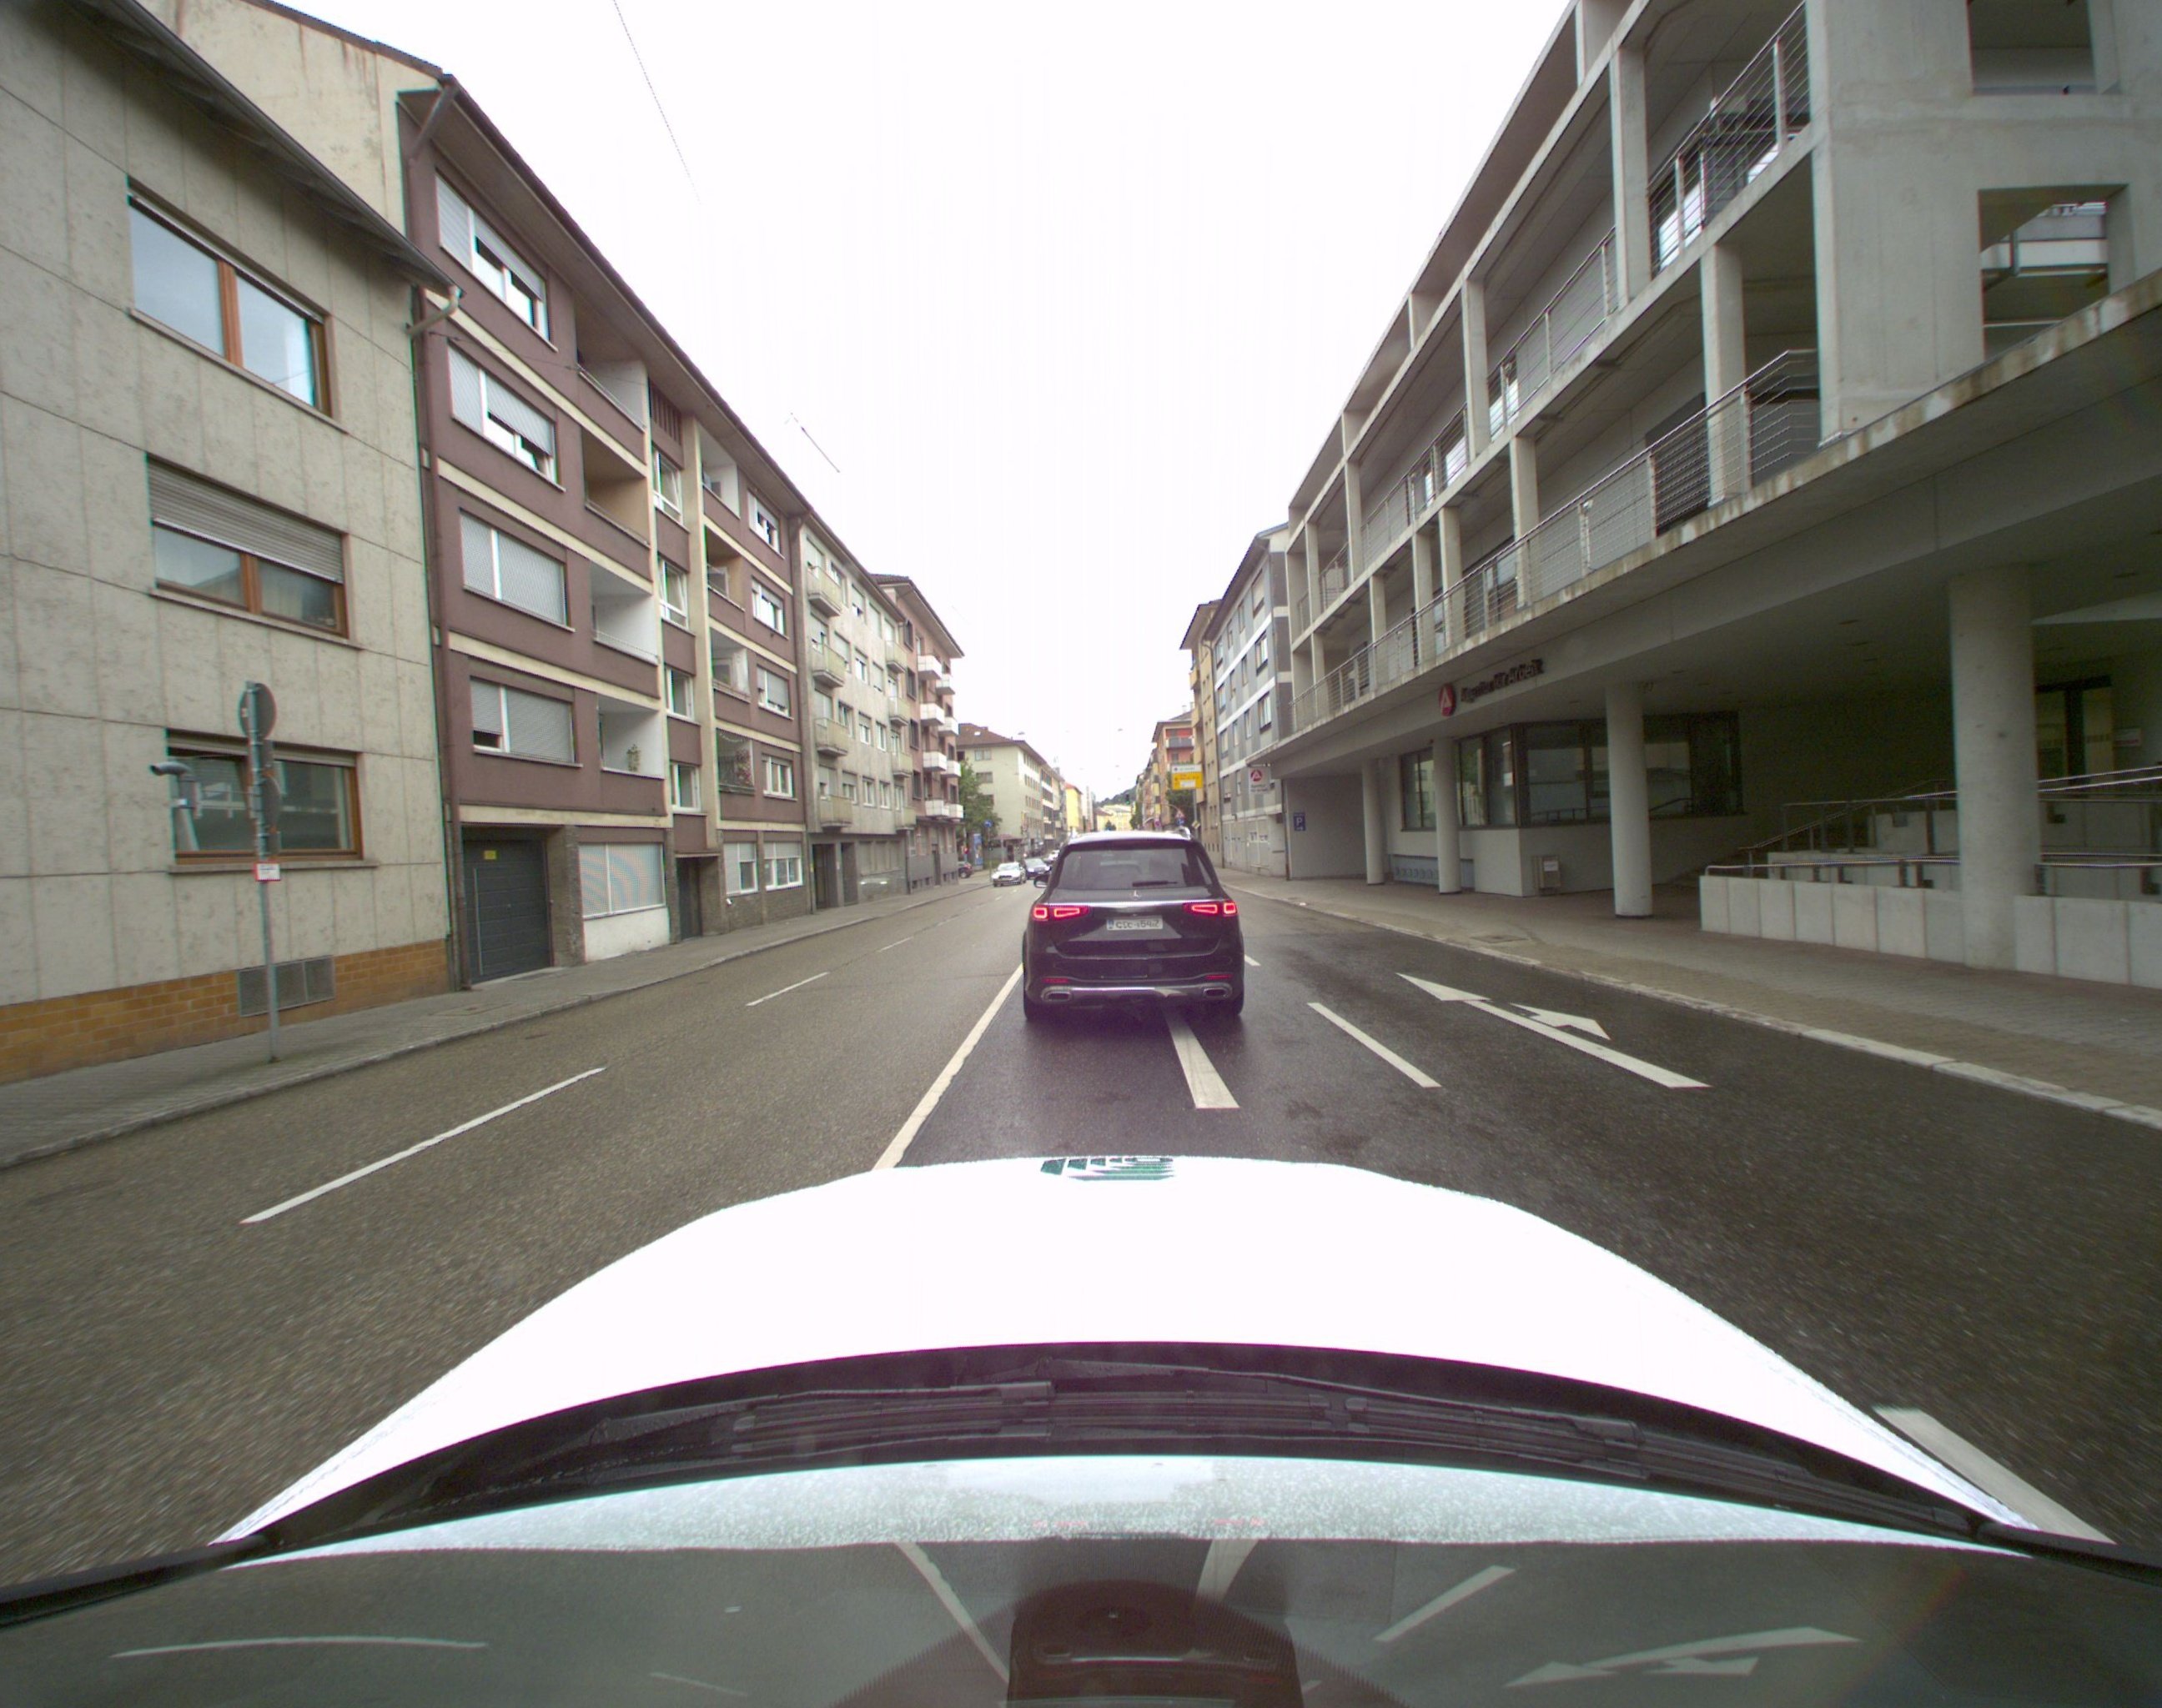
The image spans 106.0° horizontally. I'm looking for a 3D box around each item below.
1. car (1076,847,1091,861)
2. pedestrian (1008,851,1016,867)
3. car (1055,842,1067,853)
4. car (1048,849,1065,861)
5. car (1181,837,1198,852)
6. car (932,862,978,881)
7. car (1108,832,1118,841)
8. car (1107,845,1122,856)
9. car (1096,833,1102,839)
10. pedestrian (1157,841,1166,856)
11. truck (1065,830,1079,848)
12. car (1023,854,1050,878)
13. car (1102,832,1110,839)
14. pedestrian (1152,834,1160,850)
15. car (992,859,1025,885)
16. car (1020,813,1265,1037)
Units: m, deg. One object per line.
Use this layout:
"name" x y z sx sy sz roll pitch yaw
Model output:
"car" 0.289 0.058 100.107 1.613 1.539 4.216 -5 -1 0
"pedestrian" -8.568 0.575 101.206 0.920 1.902 0.706 -4 0 0
"car" -3.187 -1.093 130.624 1.613 1.539 4.217 -5 3 0
"car" -2.918 0.188 99.381 1.879 1.264 4.216 -5 -1 -1
"car" 12.383 -1.032 93.224 1.664 1.588 3.334 -4 0 4
"car" -12.898 1.804 83.437 4.178 1.539 1.826 -5 -1 10
"car" 6.824 -3.655 172.133 1.718 1.759 4.217 -5 2 0
"car" 4.747 -0.478 115.226 1.987 1.351 4.001 -5 0 1
"car" 5.375 -5.582 249.086 1.613 1.539 4.217 -5 2 0
"pedestrian" 10.075 -0.660 101.796 0.920 1.804 0.706 -4 0 0
"truck" -1.737 -2.865 156.050 2.472 3.045 9.918 -5 1 0
"car" -3.532 0.900 64.259 1.770 1.645 4.402 -5 1 -6
"car" 6.515 -4.814 213.102 1.613 1.539 4.217 -5 3 0
"pedestrian" 10.055 -1.631 109.494 0.920 2.013 0.706 -4 0 0
"car" -4.750 1.170 53.742 1.767 1.539 4.356 -5 -1 -1
"car" 0.566 0.600 8.833 1.977 1.805 4.391 -1 -1 2
